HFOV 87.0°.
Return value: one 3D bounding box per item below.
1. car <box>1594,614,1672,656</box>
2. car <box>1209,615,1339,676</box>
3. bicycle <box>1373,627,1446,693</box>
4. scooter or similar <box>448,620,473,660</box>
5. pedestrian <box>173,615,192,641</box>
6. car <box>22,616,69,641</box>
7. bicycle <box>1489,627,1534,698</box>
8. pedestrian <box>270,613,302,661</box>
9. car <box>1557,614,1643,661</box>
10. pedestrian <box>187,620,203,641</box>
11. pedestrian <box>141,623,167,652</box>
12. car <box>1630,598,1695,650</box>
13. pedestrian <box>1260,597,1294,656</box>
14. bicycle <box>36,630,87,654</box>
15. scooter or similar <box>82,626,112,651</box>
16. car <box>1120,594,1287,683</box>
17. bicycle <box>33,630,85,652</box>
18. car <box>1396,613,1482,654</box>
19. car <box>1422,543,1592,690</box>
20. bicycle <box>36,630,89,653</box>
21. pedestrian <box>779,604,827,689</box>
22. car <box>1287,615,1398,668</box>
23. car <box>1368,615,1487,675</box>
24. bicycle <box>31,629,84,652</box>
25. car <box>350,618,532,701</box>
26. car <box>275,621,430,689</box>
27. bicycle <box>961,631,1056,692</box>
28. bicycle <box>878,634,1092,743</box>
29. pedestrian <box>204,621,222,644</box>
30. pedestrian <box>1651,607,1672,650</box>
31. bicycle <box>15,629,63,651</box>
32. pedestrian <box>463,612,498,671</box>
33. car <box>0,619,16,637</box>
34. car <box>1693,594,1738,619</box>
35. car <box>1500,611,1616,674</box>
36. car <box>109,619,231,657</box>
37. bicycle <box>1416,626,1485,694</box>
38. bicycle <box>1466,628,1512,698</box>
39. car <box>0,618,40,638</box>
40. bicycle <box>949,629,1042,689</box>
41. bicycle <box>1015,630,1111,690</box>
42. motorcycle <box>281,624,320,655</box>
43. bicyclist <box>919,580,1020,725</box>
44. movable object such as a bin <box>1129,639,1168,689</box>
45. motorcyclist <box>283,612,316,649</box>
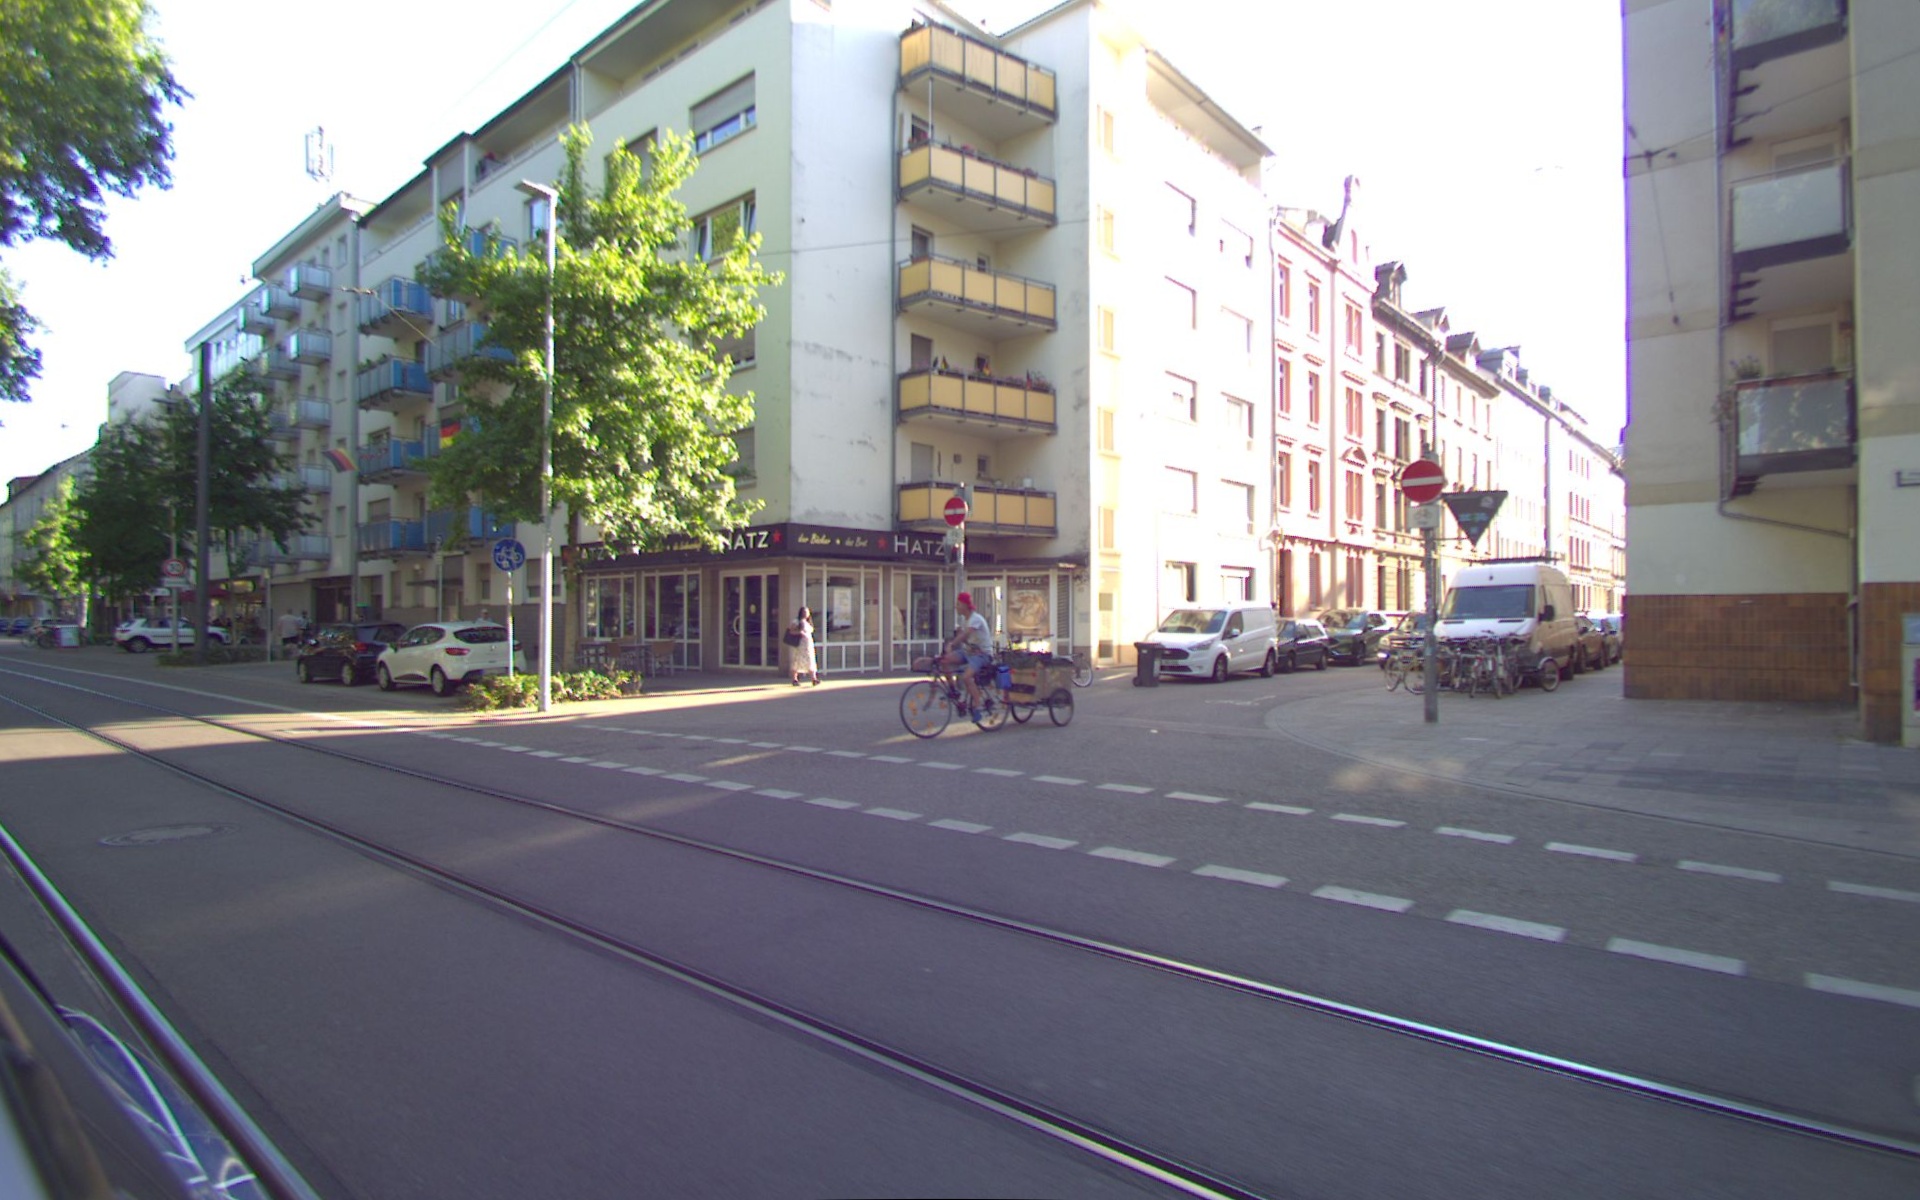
[{"bbox_3d":[26.062,1.317,39.142,2.099,1.511,3.906,-1,-1,40],"label":"car"},{"bbox_3d":[8.529,1.159,27.305,2.027,1.511,3.906,-1,-1,39],"label":"car"},{"bbox_3d":[8.451,1.115,19.107,0.575,1.165,1.604,1,-2,-4],"label":"bicycle"},{"bbox_3d":[-16.351,1.309,33.126,0.370,1.299,1.238,3,-3,-41],"label":"scooter or similar"},{"bbox_3d":[-47.671,1.721,62.050,0.767,1.568,0.718,-1,-2,36],"label":"pedestrian"},{"bbox_3d":[-64.693,2.010,71.562,4.355,1.663,1.859,-1,0,40],"label":"car"},{"bbox_3d":[9.610,1.071,17.606,0.582,1.165,1.735,0,-3,32],"label":"bicycle"},{"bbox_3d":[-23.901,1.304,35.905,0.794,1.704,0.756,-1,-1,40],"label":"pedestrian"},{"bbox_3d":[22.217,1.252,35.088,2.028,1.511,3.906,-1,-1,40],"label":"car"},{"bbox_3d":[-43.028,1.708,56.938,0.560,1.207,0.509,-1,-2,25],"label":"pedestrian"},{"bbox_3d":[-37.111,1.724,46.595,0.744,1.307,0.708,-1,-2,27],"label":"pedestrian"},{"bbox_3d":[30.968,1.037,44.562,2.028,2.151,3.906,-1,-1,40],"label":"car"},{"bbox_3d":[9.851,0.811,31.399,0.765,1.814,0.824,-1,-1,37],"label":"pedestrian"},{"bbox_3d":[-41.901,1.955,47.197,0.657,1.015,1.676,-1,0,36],"label":"bicycle"},{"bbox_3d":[-43.129,1.935,50.586,0.498,1.185,1.069,-1,0,40],"label":"scooter or similar"},{"bbox_3d":[5.742,0.838,23.464,2.035,1.836,4.829,-1,-1,37],"label":"car"},{"bbox_3d":[-43.623,1.968,49.004,0.657,1.015,1.813,-1,0,36],"label":"bicycle"},{"bbox_3d":[18.297,1.245,38.612,2.028,1.511,3.905,-1,-1,40],"label":"car"},{"bbox_3d":[11.913,0.347,21.816,2.168,2.744,5.750,-1,-1,39],"label":"car"},{"bbox_3d":[-42.771,1.961,48.258,0.657,1.015,1.813,-1,0,36],"label":"bicycle"},{"bbox_3d":[-3.218,0.942,20.721,0.748,1.704,0.657,-1,-1,40],"label":"pedestrian"},{"bbox_3d":[11.715,1.216,30.886,2.028,1.511,3.906,-1,-1,40],"label":"car"},{"bbox_3d":[12.883,1.184,27.773,2.028,1.511,3.906,-1,-1,40],"label":"car"},{"bbox_3d":[-44.086,1.971,49.455,0.657,1.015,1.813,-1,0,36],"label":"bicycle"},{"bbox_3d":[-11.042,1.176,21.422,4.370,1.475,1.697,-1,2,38],"label":"car"},{"bbox_3d":[-14.659,1.266,24.356,3.990,1.475,1.699,-1,0,34],"label":"car"},{"bbox_3d":[0.982,1.221,20.196,1.918,1.165,0.573,3,-3,-35],"label":"bicycle"},{"bbox_3d":[0.369,1.050,12.754,2.760,1.165,0.923,0,-1,-40],"label":"bicycle"},{"bbox_3d":[-40.091,1.733,54.319,0.558,1.207,0.511,0,-2,12],"label":"pedestrian"},{"bbox_3d":[28.681,1.167,41.358,0.655,1.751,0.762,-1,-1,38],"label":"pedestrian"},{"bbox_3d":[-45.825,1.985,50.385,0.657,1.015,1.676,-1,0,36],"label":"bicycle"},{"bbox_3d":[-13.995,1.205,29.542,0.748,1.704,0.657,-1,-1,40],"label":"pedestrian"},{"bbox_3d":[-82.407,2.374,86.728,4.280,1.475,1.776,-1,-2,42],"label":"car"},{"bbox_3d":[47.371,0.402,63.425,2.028,1.511,3.906,-1,-1,40],"label":"car"},{"bbox_3d":[15.669,1.062,26.438,2.028,1.511,3.906,-1,-1,40],"label":"car"},{"bbox_3d":[-34.577,1.644,44.350,1.852,1.486,3.968,0,0,43],"label":"car"},{"bbox_3d":[8.880,1.077,18.287,1.728,1.165,0.585,3,-3,-45],"label":"bicycle"},{"bbox_3d":[9.330,1.089,17.829,0.582,1.165,1.735,0,-3,32],"label":"bicycle"},{"bbox_3d":[-73.871,2.191,79.443,4.387,1.556,1.935,-1,-2,42],"label":"car"},{"bbox_3d":[0.741,1.191,20.536,1.918,1.165,0.573,3,-3,-35],"label":"bicycle"},{"bbox_3d":[2.089,1.204,20.397,1.917,1.165,0.574,2,-3,-29],"label":"bicycle"},{"bbox_3d":[-25.842,1.543,39.626,1.915,1.173,0.840,-1,-2,43],"label":"motorcycle"},{"bbox_3d":[0.116,0.627,12.567,0.860,1.717,0.909,0,-1,-39],"label":"bicyclist"},{"bbox_3d":[3.873,1.304,20.769,0.638,0.980,0.589,-1,-1,30],"label":"movable object such as a bin"},{"bbox_3d":[-25.890,1.187,39.661,1.016,1.451,0.864,-1,-2,43],"label":"motorcyclist"}]
